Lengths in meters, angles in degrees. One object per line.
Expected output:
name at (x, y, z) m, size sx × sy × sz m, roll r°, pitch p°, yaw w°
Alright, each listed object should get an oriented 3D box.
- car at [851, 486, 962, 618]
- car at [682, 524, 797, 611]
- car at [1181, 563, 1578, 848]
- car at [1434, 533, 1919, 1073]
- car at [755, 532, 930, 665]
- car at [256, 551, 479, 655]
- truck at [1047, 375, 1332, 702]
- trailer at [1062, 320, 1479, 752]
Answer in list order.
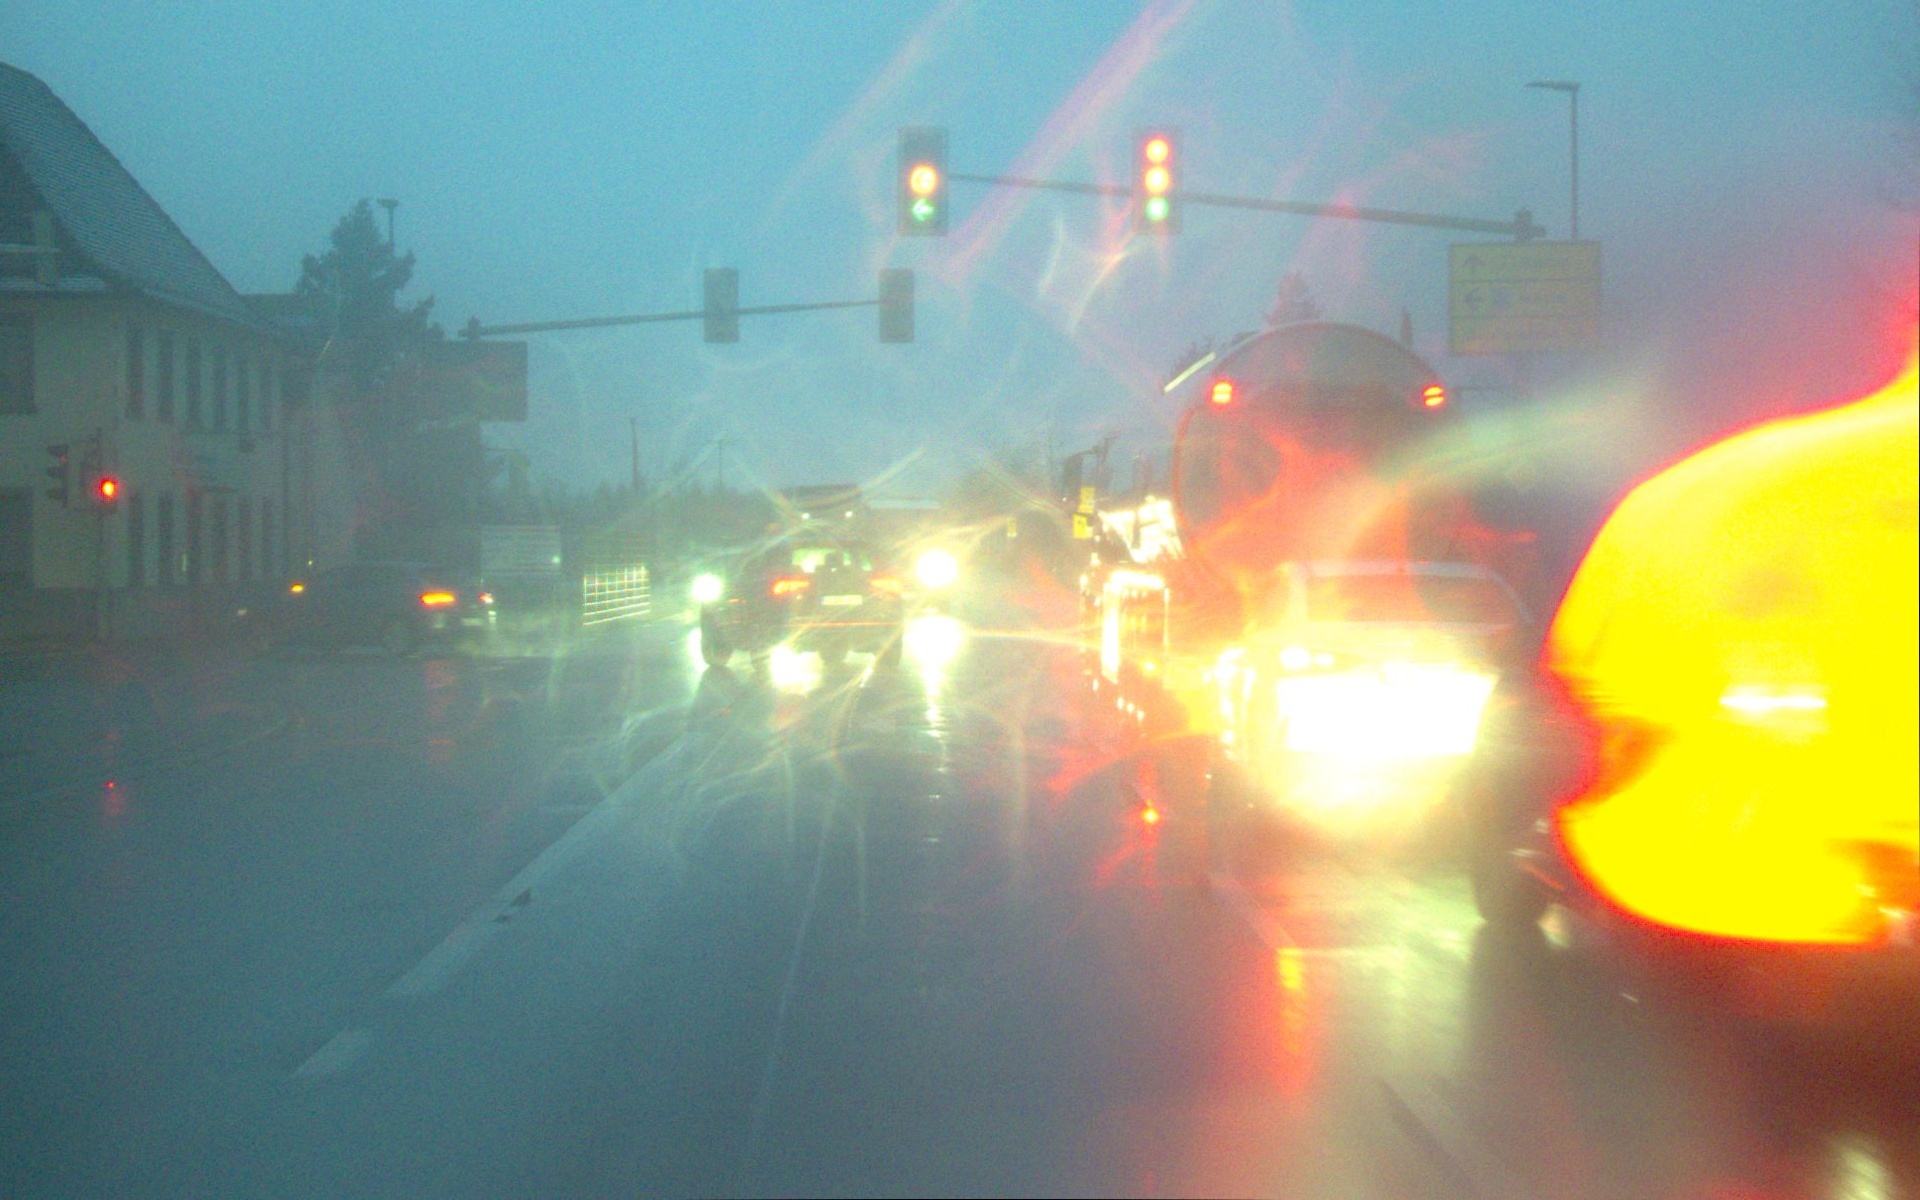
car at (-1.277, -1.120, 80.133) m, size 2.401 × 2.882 × 6.251 m, roll 2°, pitch 1°, yaw -2°
car at (-4.658, -0.706, 73.136) m, size 1.994 × 1.740 × 4.000 m, roll -1°, pitch 1°, yaw 2°
car at (2.316, 0.526, 20.005) m, size 1.662 × 1.434 × 4.382 m, roll 1°, pitch 1°, yaw -1°
car at (2.979, 0.568, 12.281) m, size 1.836 × 1.563 × 4.504 m, roll 1°, pitch 1°, yaw -1°
car at (-1.548, -0.054, 43.662) m, size 2.047 × 1.567 × 4.704 m, roll -1°, pitch 1°, yaw -4°
car at (-8.915, 0.035, 51.901) m, size 3.215 × 1.503 × 1.549 m, roll 1°, pitch 1°, yaw -6°
truck at (2.356, -0.653, 37.199) m, size 2.461 × 3.218 × 6.273 m, roll 1°, pitch 1°, yaw -2°
trailer at (2.502, -0.558, 31.296) m, size 2.488 × 3.229 × 10.870 m, roll 1°, pitch 1°, yaw -2°
